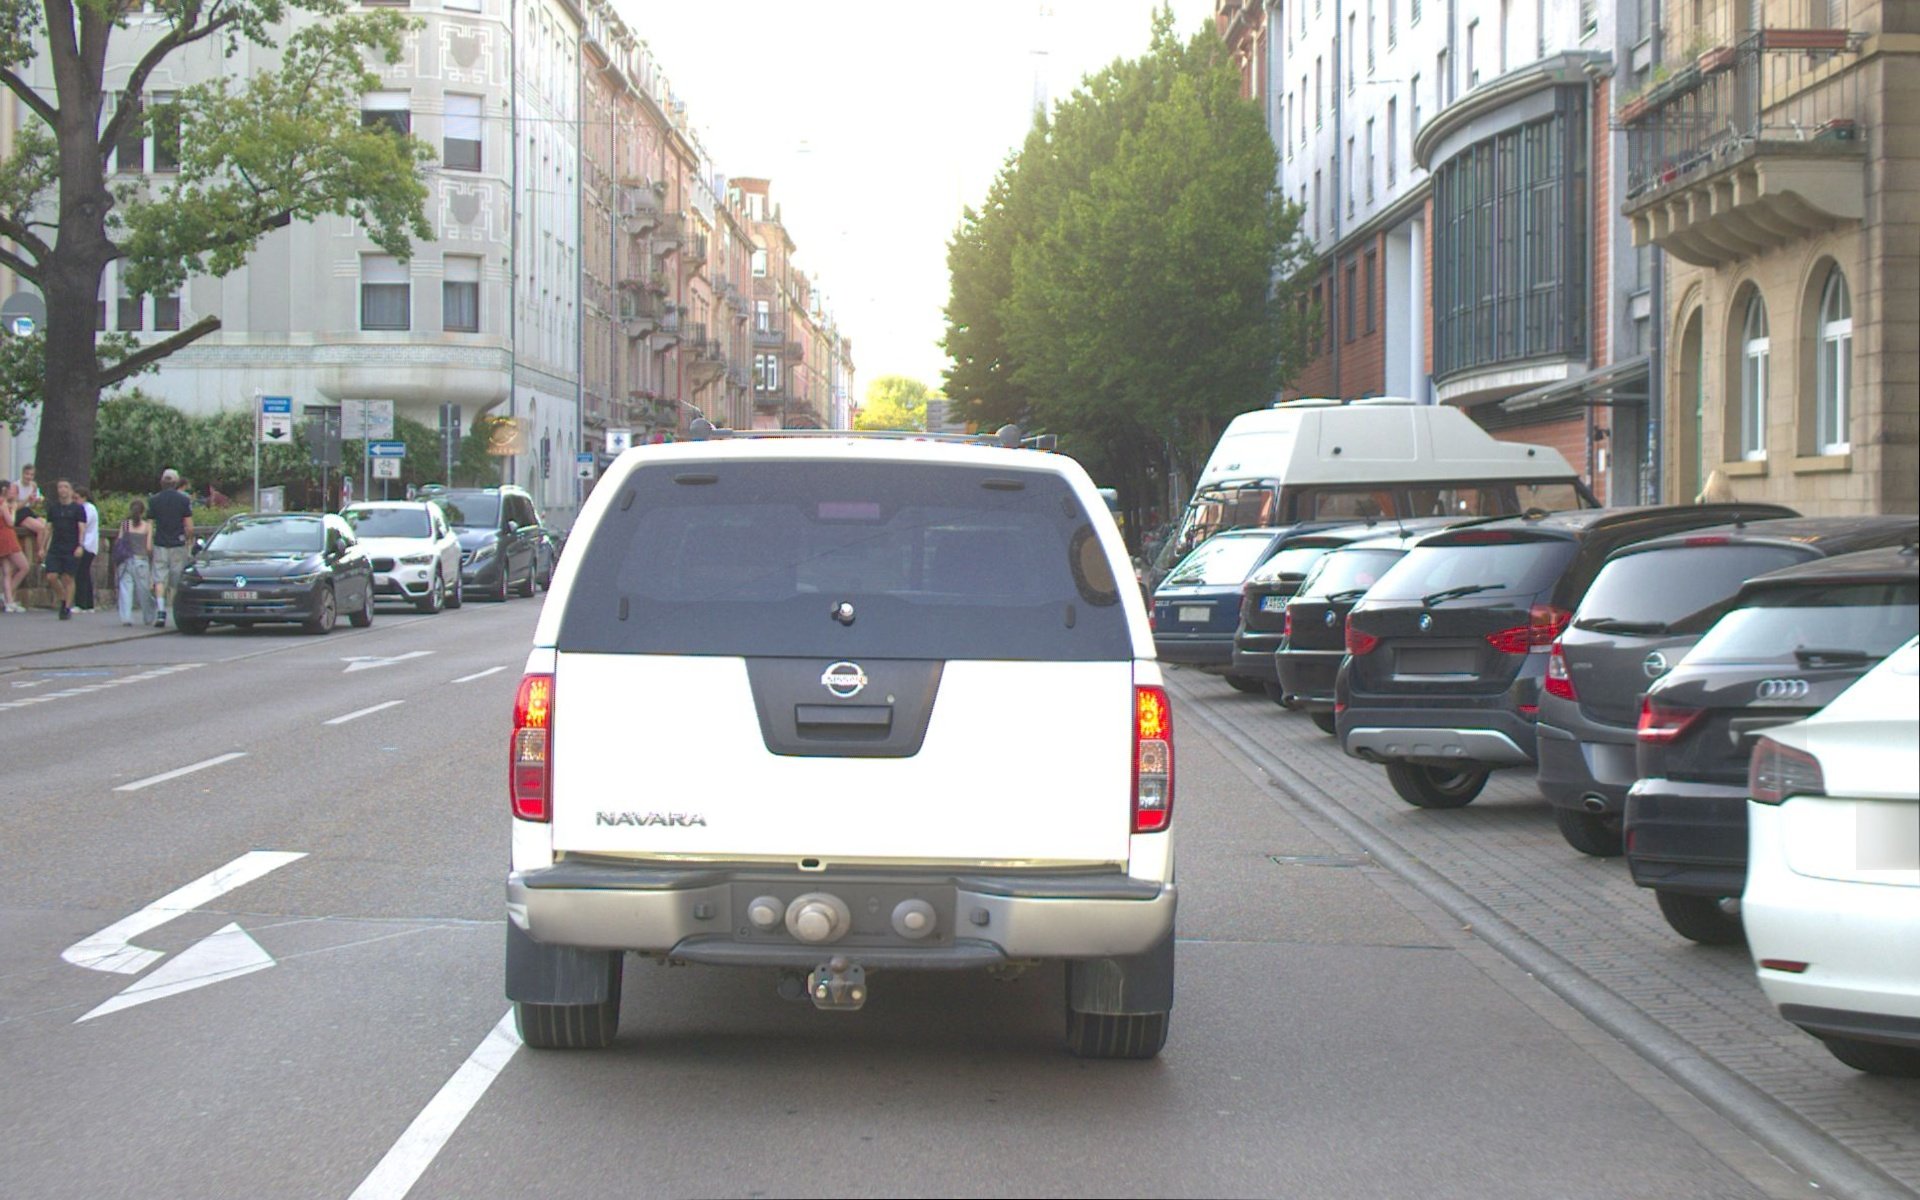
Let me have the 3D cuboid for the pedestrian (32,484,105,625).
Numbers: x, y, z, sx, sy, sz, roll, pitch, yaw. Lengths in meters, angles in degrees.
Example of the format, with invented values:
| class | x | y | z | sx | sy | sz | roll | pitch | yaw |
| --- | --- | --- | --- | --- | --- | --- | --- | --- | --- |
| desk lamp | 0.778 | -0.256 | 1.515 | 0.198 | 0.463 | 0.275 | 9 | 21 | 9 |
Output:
| class | x | y | z | sx | sy | sz | roll | pitch | yaw |
| --- | --- | --- | --- | --- | --- | --- | --- | --- | --- |
| pedestrian | -10.995 | -0.564 | 42.401 | 0.714 | 1.719 | 0.692 | 0 | 1 | 1 |

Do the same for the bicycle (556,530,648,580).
| class | x | y | z | sx | sy | sz | roll | pitch | yaw |
| --- | --- | --- | --- | --- | --- | --- | --- | --- | --- |
| bicycle | -8.152 | -1.028 | 78.277 | 2.113 | 1.091 | 0.500 | 2 | 3 | 25 |

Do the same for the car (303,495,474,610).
| class | x | y | z | sx | sy | sz | roll | pitch | yaw |
| --- | --- | --- | --- | --- | --- | --- | --- | --- | --- |
| car | -8.305 | -0.717 | 50.256 | 1.871 | 1.586 | 4.469 | 0 | 1 | -2 |

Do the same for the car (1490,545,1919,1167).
| class | x | y | z | sx | sy | sz | roll | pitch | yaw |
| --- | --- | --- | --- | --- | --- | --- | --- | --- | --- |
| car | 3.715 | 0.552 | 9.715 | 4.242 | 1.448 | 1.999 | -2 | 1 | -38 |

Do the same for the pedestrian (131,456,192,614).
| class | x | y | z | sx | sy | sz | roll | pitch | yaw |
| --- | --- | --- | --- | --- | --- | --- | --- | --- | --- |
| pedestrian | -9.668 | -0.792 | 41.654 | 0.582 | 1.899 | 0.803 | 0 | 1 | -3 |

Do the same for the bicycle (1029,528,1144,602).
| class | x | y | z | sx | sy | sz | roll | pitch | yaw |
| --- | --- | --- | --- | --- | --- | --- | --- | --- | --- |
| bicycle | 2.123 | -0.587 | 57.704 | 1.859 | 1.142 | 0.659 | -3 | 1 | 0 |

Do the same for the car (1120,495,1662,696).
| class | x | y | z | sx | sy | sz | roll | pitch | yaw |
| --- | --- | --- | --- | --- | --- | --- | --- | --- | --- |
| car | 3.749 | -0.079 | 29.713 | 4.384 | 1.481 | 1.844 | -3 | 2 | -30 |

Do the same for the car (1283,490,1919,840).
| class | x | y | z | sx | sy | sz | roll | pitch | yaw |
| --- | --- | --- | --- | --- | --- | --- | --- | --- | --- |
| car | 3.865 | 0.259 | 18.322 | 4.087 | 1.602 | 1.816 | -3 | 2 | -38 |

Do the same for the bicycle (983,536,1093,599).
| class | x | y | z | sx | sy | sz | roll | pitch | yaw |
| --- | --- | --- | --- | --- | --- | --- | --- | --- | --- |
| bicycle | 1.341 | -0.562 | 59.491 | 1.857 | 1.035 | 0.472 | -2 | 1 | -1 |

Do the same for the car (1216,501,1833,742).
| class | x | y | z | sx | sy | sz | roll | pitch | yaw |
| --- | --- | --- | --- | --- | --- | --- | --- | --- | --- |
| car | 3.981 | 0.107 | 24.049 | 4.022 | 1.427 | 1.868 | -3 | 2 | -34 |

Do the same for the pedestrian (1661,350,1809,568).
| class | x | y | z | sx | sy | sz | roll | pitch | yaw |
| --- | --- | --- | --- | --- | --- | --- | --- | --- | --- |
| pedestrian | 7.537 | -1.378 | 33.469 | 0.607 | 2.005 | 0.858 | 20 | 4 | 2 |

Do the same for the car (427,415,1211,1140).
| class | x | y | z | sx | sy | sz | roll | pitch | yaw |
| --- | --- | --- | --- | --- | --- | --- | --- | --- | --- |
| car | -0.374 | 0.377 | 10.811 | 1.933 | 1.788 | 4.622 | 0 | 2 | -1 |

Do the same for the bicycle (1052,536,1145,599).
| class | x | y | z | sx | sy | sz | roll | pitch | yaw |
| --- | --- | --- | --- | --- | --- | --- | --- | --- | --- |
| bicycle | 2.367 | -0.559 | 58.908 | 1.539 | 1.035 | 0.472 | -2 | 1 | -1 |

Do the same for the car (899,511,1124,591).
| class | x | y | z | sx | sy | sz | roll | pitch | yaw |
| --- | --- | --- | --- | --- | --- | --- | --- | --- | --- |
| car | 1.003 | -0.960 | 66.250 | 3.986 | 1.501 | 1.771 | -1 | 1 | -29 |

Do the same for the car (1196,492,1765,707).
| class | x | y | z | sx | sy | sz | roll | pitch | yaw |
| --- | --- | --- | --- | --- | --- | --- | --- | --- | --- |
| car | 4.097 | -0.015 | 26.983 | 4.108 | 1.540 | 1.795 | -2 | 0 | -28 |

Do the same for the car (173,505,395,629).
| class | x | y | z | sx | sy | sz | roll | pitch | yaw |
| --- | --- | --- | --- | --- | --- | --- | --- | --- | --- |
| car | -8.242 | -0.437 | 42.249 | 1.783 | 1.430 | 4.316 | 0 | 1 | 1 |

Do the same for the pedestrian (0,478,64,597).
| class | x | y | z | sx | sy | sz | roll | pitch | yaw |
| --- | --- | --- | --- | --- | --- | --- | --- | --- | --- |
| pedestrian | -12.188 | -0.821 | 45.039 | 0.651 | 1.540 | 0.585 | 1 | 1 | 24 |

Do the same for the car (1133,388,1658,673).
| class | x | y | z | sx | sy | sz | roll | pitch | yaw |
| --- | --- | --- | --- | --- | --- | --- | --- | --- | --- |
| car | 4.154 | -0.645 | 32.626 | 4.710 | 2.538 | 1.918 | 0 | 1 | -29 |

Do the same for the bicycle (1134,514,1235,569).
| class | x | y | z | sx | sy | sz | roll | pitch | yaw |
| --- | --- | --- | --- | --- | --- | --- | --- | --- | --- |
| bicycle | 5.685 | -1.485 | 87.077 | 2.534 | 1.375 | 0.599 | 0 | 1 | 3 |

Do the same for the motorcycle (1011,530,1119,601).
| class | x | y | z | sx | sy | sz | roll | pitch | yaw |
| --- | --- | --- | --- | --- | --- | --- | --- | --- | --- |
| motorcycle | 1.723 | -0.569 | 56.556 | 1.644 | 1.098 | 0.647 | -2 | 2 | -8 |

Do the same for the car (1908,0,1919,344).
| class | x | y | z | sx | sy | sz | roll | pitch | yaw |
| --- | --- | --- | --- | --- | --- | --- | --- | --- | --- |
| car | 4.542 | 0.040 | 6.749 | 5.868 | 2.543 | 2.195 | -2 | 0 | -41 |

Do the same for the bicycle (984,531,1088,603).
| class | x | y | z | sx | sy | sz | roll | pitch | yaw |
| --- | --- | --- | --- | --- | --- | --- | --- | --- | --- |
| bicycle | 1.289 | -0.567 | 58.344 | 1.707 | 1.172 | 0.472 | -2 | 1 | -1 |

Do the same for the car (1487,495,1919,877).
| class | x | y | z | sx | sy | sz | roll | pitch | yaw |
| --- | --- | --- | --- | --- | --- | --- | --- | --- | --- |
| car | 4.405 | 0.298 | 15.892 | 3.905 | 1.539 | 1.717 | -3 | 1 | -41 |

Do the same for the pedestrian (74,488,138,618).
| class | x | y | z | sx | sy | sz | roll | pitch | yaw |
| --- | --- | --- | --- | --- | --- | --- | --- | --- | --- |
| pedestrian | -10.330 | -0.579 | 41.608 | 0.582 | 1.546 | 0.839 | 1 | 1 | -3 |

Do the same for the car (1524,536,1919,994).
| class | x | y | z | sx | sy | sz | roll | pitch | yaw |
| --- | --- | --- | --- | --- | --- | --- | --- | --- | --- |
| car | 4.110 | 0.463 | 12.590 | 3.905 | 1.441 | 1.874 | -3 | 1 | -40 |

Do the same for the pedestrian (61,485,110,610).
| class | x | y | z | sx | sy | sz | roll | pitch | yaw |
| --- | --- | --- | --- | --- | --- | --- | --- | --- | --- |
| pedestrian | -11.390 | -0.691 | 44.776 | 0.414 | 1.616 | 0.548 | 0 | 2 | -40 |

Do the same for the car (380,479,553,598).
| class | x | y | z | sx | sy | sz | roll | pitch | yaw |
| --- | --- | --- | --- | --- | --- | --- | --- | --- | --- |
| car | -8.173 | -1.049 | 57.371 | 1.993 | 1.860 | 5.290 | 1 | 1 | 1 |

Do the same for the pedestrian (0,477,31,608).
| class | x | y | z | sx | sy | sz | roll | pitch | yaw |
| --- | --- | --- | --- | --- | --- | --- | --- | --- | --- |
| pedestrian | -12.294 | -0.743 | 44.320 | 0.414 | 1.669 | 0.548 | 0 | 2 | -40 |

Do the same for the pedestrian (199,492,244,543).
| class | x | y | z | sx | sy | sz | roll | pitch | yaw |
| --- | --- | --- | --- | --- | --- | --- | --- | --- | --- |
| pedestrian | -14.162 | -1.586 | 65.912 | 0.706 | 0.977 | 0.837 | 0 | 1 | -2 |

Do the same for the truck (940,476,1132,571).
| class | x | y | z | sx | sy | sz | roll | pitch | yaw |
| --- | --- | --- | --- | --- | --- | --- | --- | --- | --- |
| truck | 2.562 | -2.553 | 115.844 | 6.320 | 2.966 | 2.264 | 1 | -1 | 2 |
